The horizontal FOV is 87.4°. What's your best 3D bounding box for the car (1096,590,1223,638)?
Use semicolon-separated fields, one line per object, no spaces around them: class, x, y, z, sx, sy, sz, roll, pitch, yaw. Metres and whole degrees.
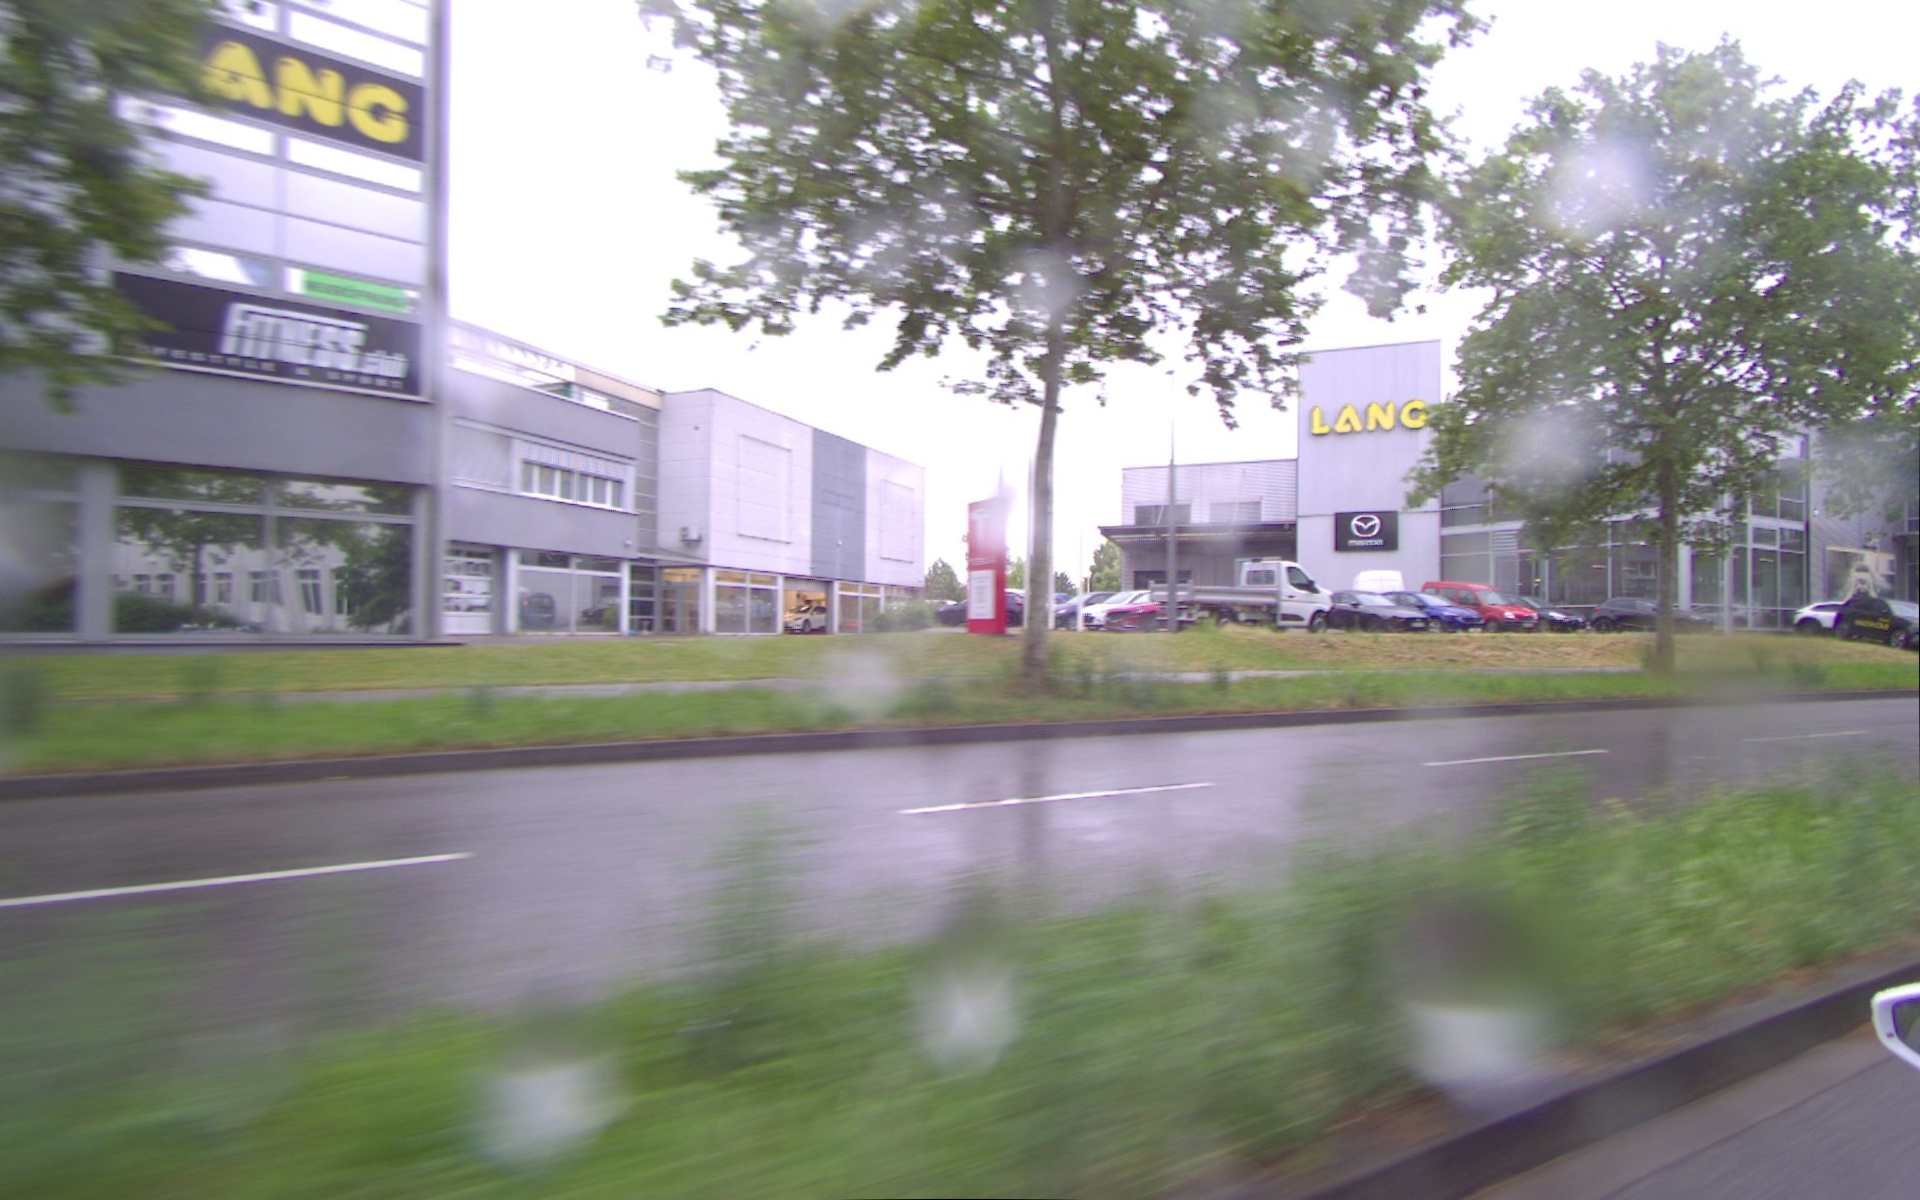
car;6.736;0.432;33.823;4.107;1.487;1.754;-1;1;-30

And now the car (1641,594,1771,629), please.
car;34.081;0.519;46.016;1.899;1.493;4.397;1;0;-32

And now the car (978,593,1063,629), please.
car;3.024;0.520;50.816;4.078;1.752;1.767;0;1;-6

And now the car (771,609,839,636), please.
car;-8.719;1.274;56.805;1.827;1.415;4.154;1;-1;24

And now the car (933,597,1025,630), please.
car;0.880;0.591;45.359;4.073;1.415;1.769;0;1;4

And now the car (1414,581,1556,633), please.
car;17.701;0.186;34.066;1.821;1.578;3.985;0;3;-23

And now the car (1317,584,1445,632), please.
car;13.314;0.208;31.957;1.743;1.344;3.513;0;3;-23

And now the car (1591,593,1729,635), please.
car;26.667;0.497;38.353;1.833;1.376;3.960;-2;3;-41

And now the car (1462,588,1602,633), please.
car;20.165;0.309;35.589;1.821;1.376;3.985;0;3;-23

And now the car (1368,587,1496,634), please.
car;15.376;0.293;32.890;1.743;1.344;3.513;0;3;-23

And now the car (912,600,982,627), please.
car;-0.913;0.921;70.894;4.627;1.752;1.982;0;1;29

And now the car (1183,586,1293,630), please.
car;12.228;0.342;44.306;4.560;1.788;1.821;1;1;15

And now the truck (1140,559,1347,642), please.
truck;8.763;-0.051;31.022;6.106;2.376;2.241;0;3;-23

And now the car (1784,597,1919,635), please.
car;36.927;0.644;41.271;1.894;1.493;4.407;1;0;-26

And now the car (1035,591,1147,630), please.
car;5.065;0.368;38.688;4.107;1.415;1.754;-1;1;-30

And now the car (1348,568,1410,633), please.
car;19.209;-0.007;46.214;2.128;2.789;5.339;1;1;18

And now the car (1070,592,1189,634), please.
car;6.198;0.448;36.633;4.107;1.415;1.754;-1;1;-30

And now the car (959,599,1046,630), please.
car;2.054;0.694;47.790;4.073;1.415;1.769;0;1;4

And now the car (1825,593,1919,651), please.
car;34.204;0.795;36.695;1.810;1.578;4.437;4;7;10
